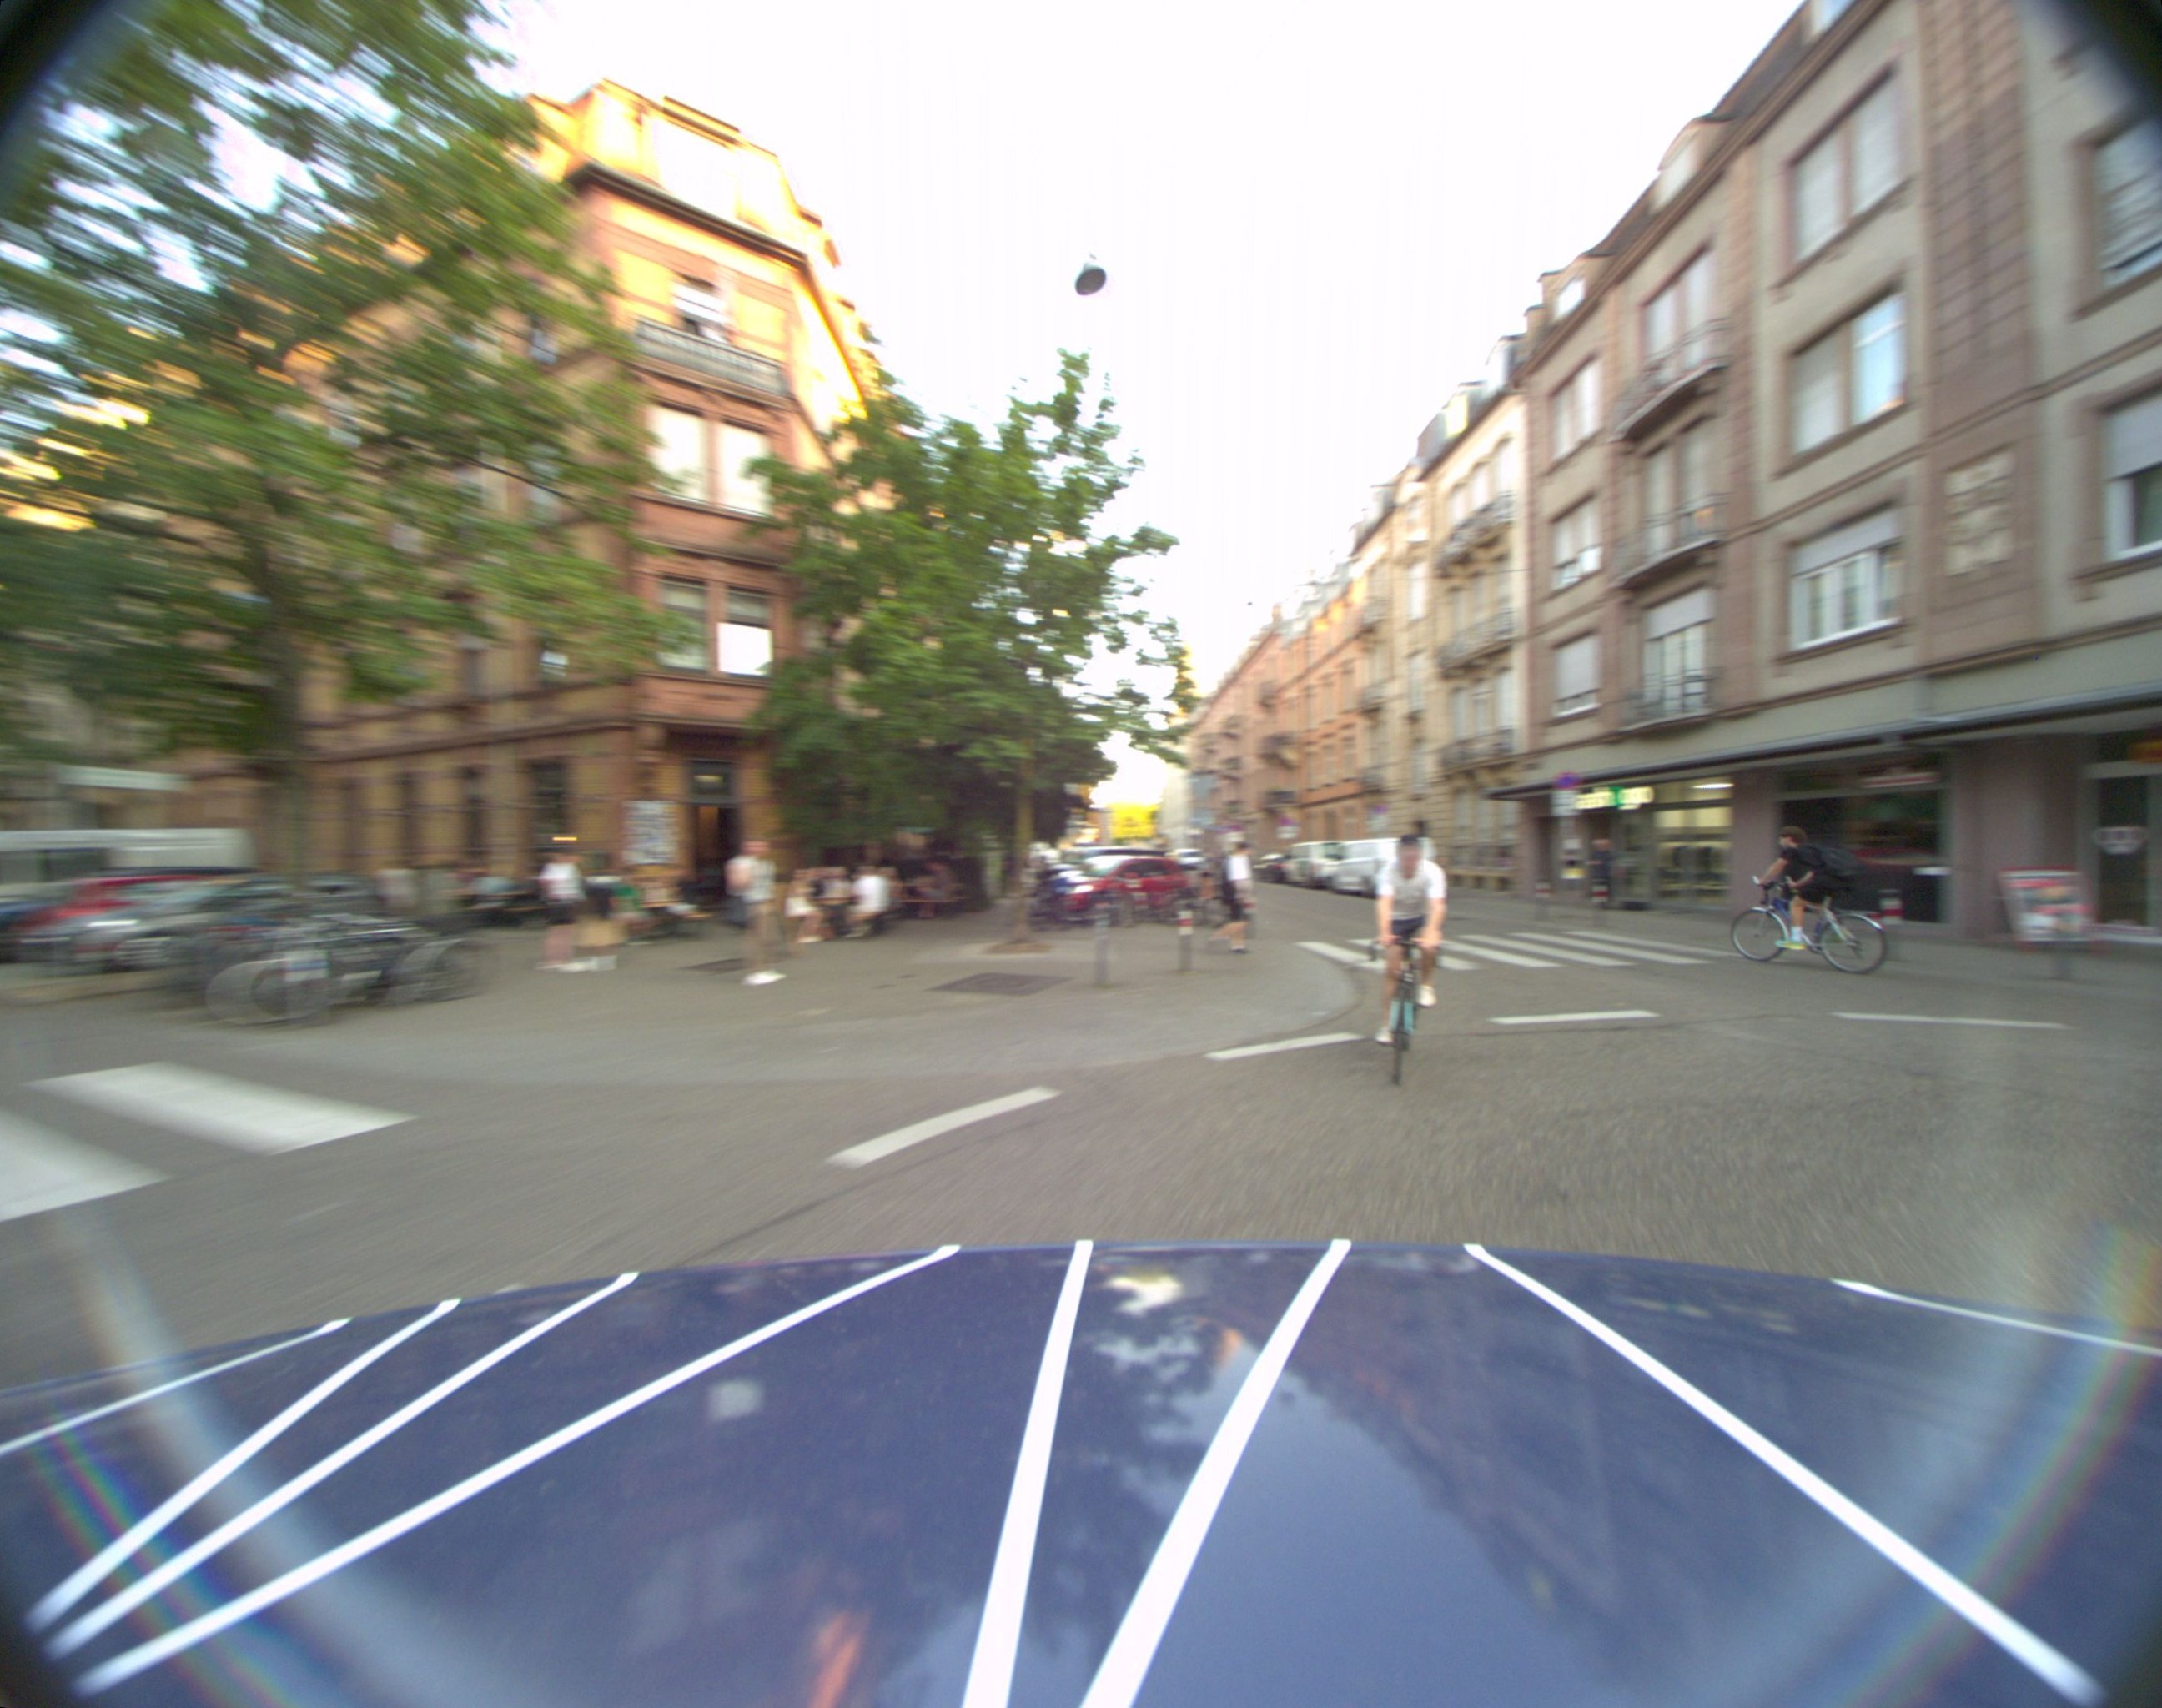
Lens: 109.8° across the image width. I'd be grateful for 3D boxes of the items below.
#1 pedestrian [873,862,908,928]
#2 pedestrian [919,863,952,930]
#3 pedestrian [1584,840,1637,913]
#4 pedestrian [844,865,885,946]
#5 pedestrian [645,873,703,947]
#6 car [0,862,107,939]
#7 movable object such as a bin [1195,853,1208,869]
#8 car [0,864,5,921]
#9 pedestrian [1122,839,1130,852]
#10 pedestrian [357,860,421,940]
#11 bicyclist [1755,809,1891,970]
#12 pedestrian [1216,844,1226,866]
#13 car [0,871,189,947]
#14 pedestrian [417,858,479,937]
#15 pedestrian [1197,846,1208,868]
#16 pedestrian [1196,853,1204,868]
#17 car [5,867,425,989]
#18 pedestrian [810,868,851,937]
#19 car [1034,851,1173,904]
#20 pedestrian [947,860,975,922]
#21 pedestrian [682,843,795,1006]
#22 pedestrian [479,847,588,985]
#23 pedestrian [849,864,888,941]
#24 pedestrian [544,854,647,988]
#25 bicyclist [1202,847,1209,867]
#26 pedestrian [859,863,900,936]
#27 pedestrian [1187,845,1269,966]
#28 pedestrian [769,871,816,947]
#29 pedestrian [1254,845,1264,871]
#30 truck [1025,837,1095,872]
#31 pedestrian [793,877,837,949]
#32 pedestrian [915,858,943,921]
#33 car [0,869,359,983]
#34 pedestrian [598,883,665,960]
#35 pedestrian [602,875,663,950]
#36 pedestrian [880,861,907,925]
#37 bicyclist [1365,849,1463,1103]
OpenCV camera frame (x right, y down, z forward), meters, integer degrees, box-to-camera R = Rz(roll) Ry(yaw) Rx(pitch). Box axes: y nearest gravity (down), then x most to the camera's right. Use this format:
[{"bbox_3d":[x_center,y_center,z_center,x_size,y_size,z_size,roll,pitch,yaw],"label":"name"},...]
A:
[{"bbox_3d":[-4.205,0.879,16.735,0.515,1.401,0.618,-3,2,-34],"label":"pedestrian"},{"bbox_3d":[-3.182,0.924,16.604,0.639,1.401,0.513,-3,2,-13],"label":"pedestrian"},{"bbox_3d":[12.577,0.527,18.069,0.711,1.668,0.736,-2,1,2],"label":"pedestrian"},{"bbox_3d":[-3.848,0.904,13.531,0.546,1.372,0.466,-2,1,-3],"label":"pedestrian"},{"bbox_3d":[-7.801,1.056,14.584,0.626,1.338,0.740,-2,1,3],"label":"pedestrian"},{"bbox_3d":[-27.187,1.203,18.047,1.995,1.775,4.551,-2,1,24],"label":"car"},{"bbox_3d":[10.108,0.569,63.848,0.890,1.244,0.776,-2,1,0],"label":"movable object such as a bin"},{"bbox_3d":[-35.608,1.293,22.124,1.995,1.775,4.551,-2,1,24],"label":"car"},{"bbox_3d":[9.262,-1.757,157.549,1.445,2.725,1.011,-2,1,-2],"label":"pedestrian"},{"bbox_3d":[-15.161,0.992,16.647,0.764,1.668,0.748,-1,2,29],"label":"pedestrian"},{"bbox_3d":[9.153,0.409,9.396,0.841,1.865,0.877,-3,1,-15],"label":"bicyclist"},{"bbox_3d":[11.532,0.087,62.569,0.683,1.800,0.962,-2,1,8],"label":"pedestrian"},{"bbox_3d":[-24.450,1.287,17.527,1.995,1.517,4.551,-2,1,24],"label":"car"},{"bbox_3d":[-13.949,0.942,16.745,0.764,1.668,0.748,-1,2,29],"label":"pedestrian"},{"bbox_3d":[10.086,0.277,63.146,0.600,1.804,0.720,-3,1,-9],"label":"pedestrian"},{"bbox_3d":[10.026,0.570,63.996,0.479,1.244,0.652,-2,1,0],"label":"pedestrian"},{"bbox_3d":[-14.352,1.097,12.967,1.906,1.517,4.299,-2,1,26],"label":"car"},{"bbox_3d":[-4.834,0.926,14.704,0.546,1.262,0.574,-2,1,0],"label":"pedestrian"},{"bbox_3d":[0.771,0.779,25.109,4.233,1.613,1.928,2,0,-34],"label":"car"},{"bbox_3d":[-2.794,0.854,17.677,0.555,1.401,0.513,-3,2,-13],"label":"pedestrian"},{"bbox_3d":[-4.119,0.804,9.161,0.866,1.817,0.838,-1,2,35],"label":"pedestrian"},{"bbox_3d":[-7.627,0.830,10.635,0.837,1.817,0.868,-2,1,-6],"label":"pedestrian"},{"bbox_3d":[-3.975,0.898,14.232,0.546,1.372,0.466,-2,1,-3],"label":"pedestrian"},{"bbox_3d":[-6.661,0.877,10.437,0.834,1.714,0.870,-1,2,37],"label":"pedestrian"},{"bbox_3d":[9.785,0.249,59.865,0.467,1.581,0.487,-2,2,3],"label":"bicyclist"},{"bbox_3d":[-3.964,0.877,14.946,0.546,1.372,0.574,-2,1,6],"label":"pedestrian"},{"bbox_3d":[2.251,0.756,11.748,0.948,1.760,0.867,-3,1,-10],"label":"pedestrian"},{"bbox_3d":[-5.069,0.958,13.369,0.546,1.262,0.574,-2,1,0],"label":"pedestrian"},{"bbox_3d":[12.282,0.250,52.401,0.464,1.779,0.642,-2,1,3],"label":"pedestrian"},{"bbox_3d":[-1.948,0.018,73.819,6.495,3.059,2.524,-2,1,3],"label":"truck"},{"bbox_3d":[-4.904,1.071,14.037,0.546,1.262,0.574,-2,1,0],"label":"pedestrian"},{"bbox_3d":[-3.531,0.816,17.639,0.555,1.401,0.513,-3,2,-13],"label":"pedestrian"},{"bbox_3d":[-16.367,1.164,13.765,1.906,1.517,4.299,-2,1,26],"label":"car"},{"bbox_3d":[-7.677,1.133,12.998,0.626,1.225,0.740,-2,1,3],"label":"pedestrian"},{"bbox_3d":[-8.503,1.086,14.423,0.626,1.338,0.740,-2,1,3],"label":"pedestrian"},{"bbox_3d":[-4.306,0.886,17.464,0.514,1.401,0.619,-3,1,-13],"label":"pedestrian"},{"bbox_3d":[2.465,0.828,5.588,0.527,1.694,0.791,-1,2,30],"label":"bicyclist"}]
